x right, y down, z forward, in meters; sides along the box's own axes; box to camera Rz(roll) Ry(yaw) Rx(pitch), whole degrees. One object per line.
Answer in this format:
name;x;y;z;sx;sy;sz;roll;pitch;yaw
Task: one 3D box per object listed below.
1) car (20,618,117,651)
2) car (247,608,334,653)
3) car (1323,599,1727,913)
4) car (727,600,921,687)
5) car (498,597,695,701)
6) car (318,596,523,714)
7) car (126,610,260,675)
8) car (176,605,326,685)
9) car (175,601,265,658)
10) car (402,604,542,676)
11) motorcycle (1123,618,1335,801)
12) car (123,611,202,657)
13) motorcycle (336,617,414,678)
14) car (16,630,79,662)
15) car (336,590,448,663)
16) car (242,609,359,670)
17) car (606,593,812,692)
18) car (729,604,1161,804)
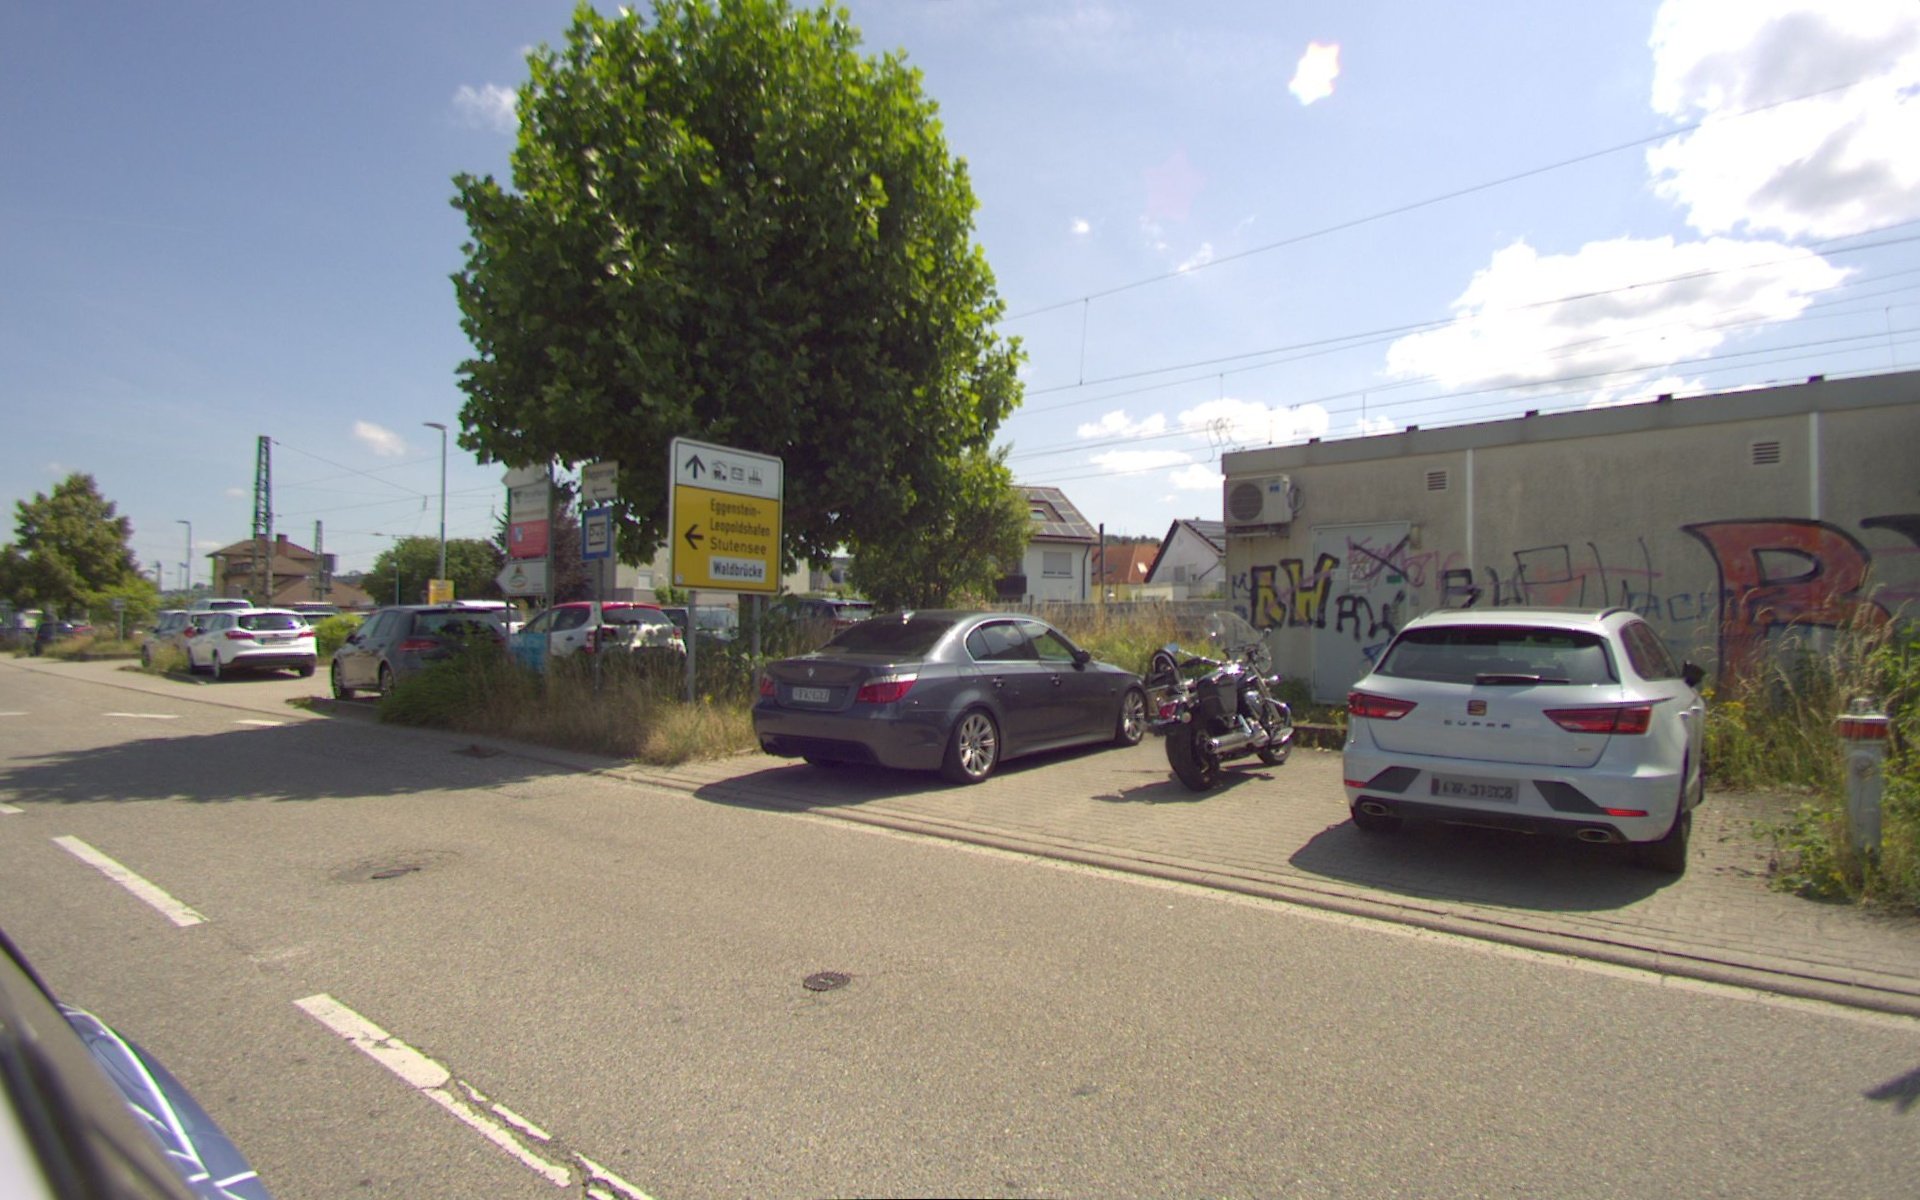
car;-45.715;1.773;51.953;1.646;1.604;3.399;1;-1;34
car;-25.423;1.148;38.366;4.274;1.621;1.926;-1;-3;45
car;3.948;0.727;6.727;1.784;1.412;4.035;-1;-1;37
car;-2.934;0.884;21.279;1.971;1.650;4.088;2;-3;-45
car;-6.144;0.788;16.945;1.770;1.548;3.581;2;-3;-44
car;-8.245;0.785;15.314;1.665;1.542;4.065;2;-3;-44
car;-20.034;1.084;26.397;3.954;1.556;1.773;-1;-2;37
car;-15.651;0.957;22.269;4.261;1.576;1.784;-1;-3;42
car;-25.663;1.019;35.049;3.837;1.847;1.926;-1;-3;45
car;-12.568;0.991;25.961;1.970;1.670;4.265;2;-2;-44
motorcycle;2.342;0.819;8.472;0.717;1.291;2.697;-1;-2;38
car;-31.384;1.337;39.786;3.998;1.698;1.710;-1;-3;41
motorcycle;-14.103;1.110;24.340;3.214;1.383;0.729;-2;-3;44
car;-40.503;2.006;44.901;3.998;1.360;1.587;-1;-2;41
car;-17.045;0.799;30.304;4.001;2.029;1.825;-1;-3;44
car;-18.559;1.083;28.405;4.263;1.576;1.780;-1;-3;44
car;-4.808;0.776;19.089;1.970;1.650;4.089;2;-3;-44
car;0.128;0.821;9.509;1.784;1.421;4.386;-1;-2;36
